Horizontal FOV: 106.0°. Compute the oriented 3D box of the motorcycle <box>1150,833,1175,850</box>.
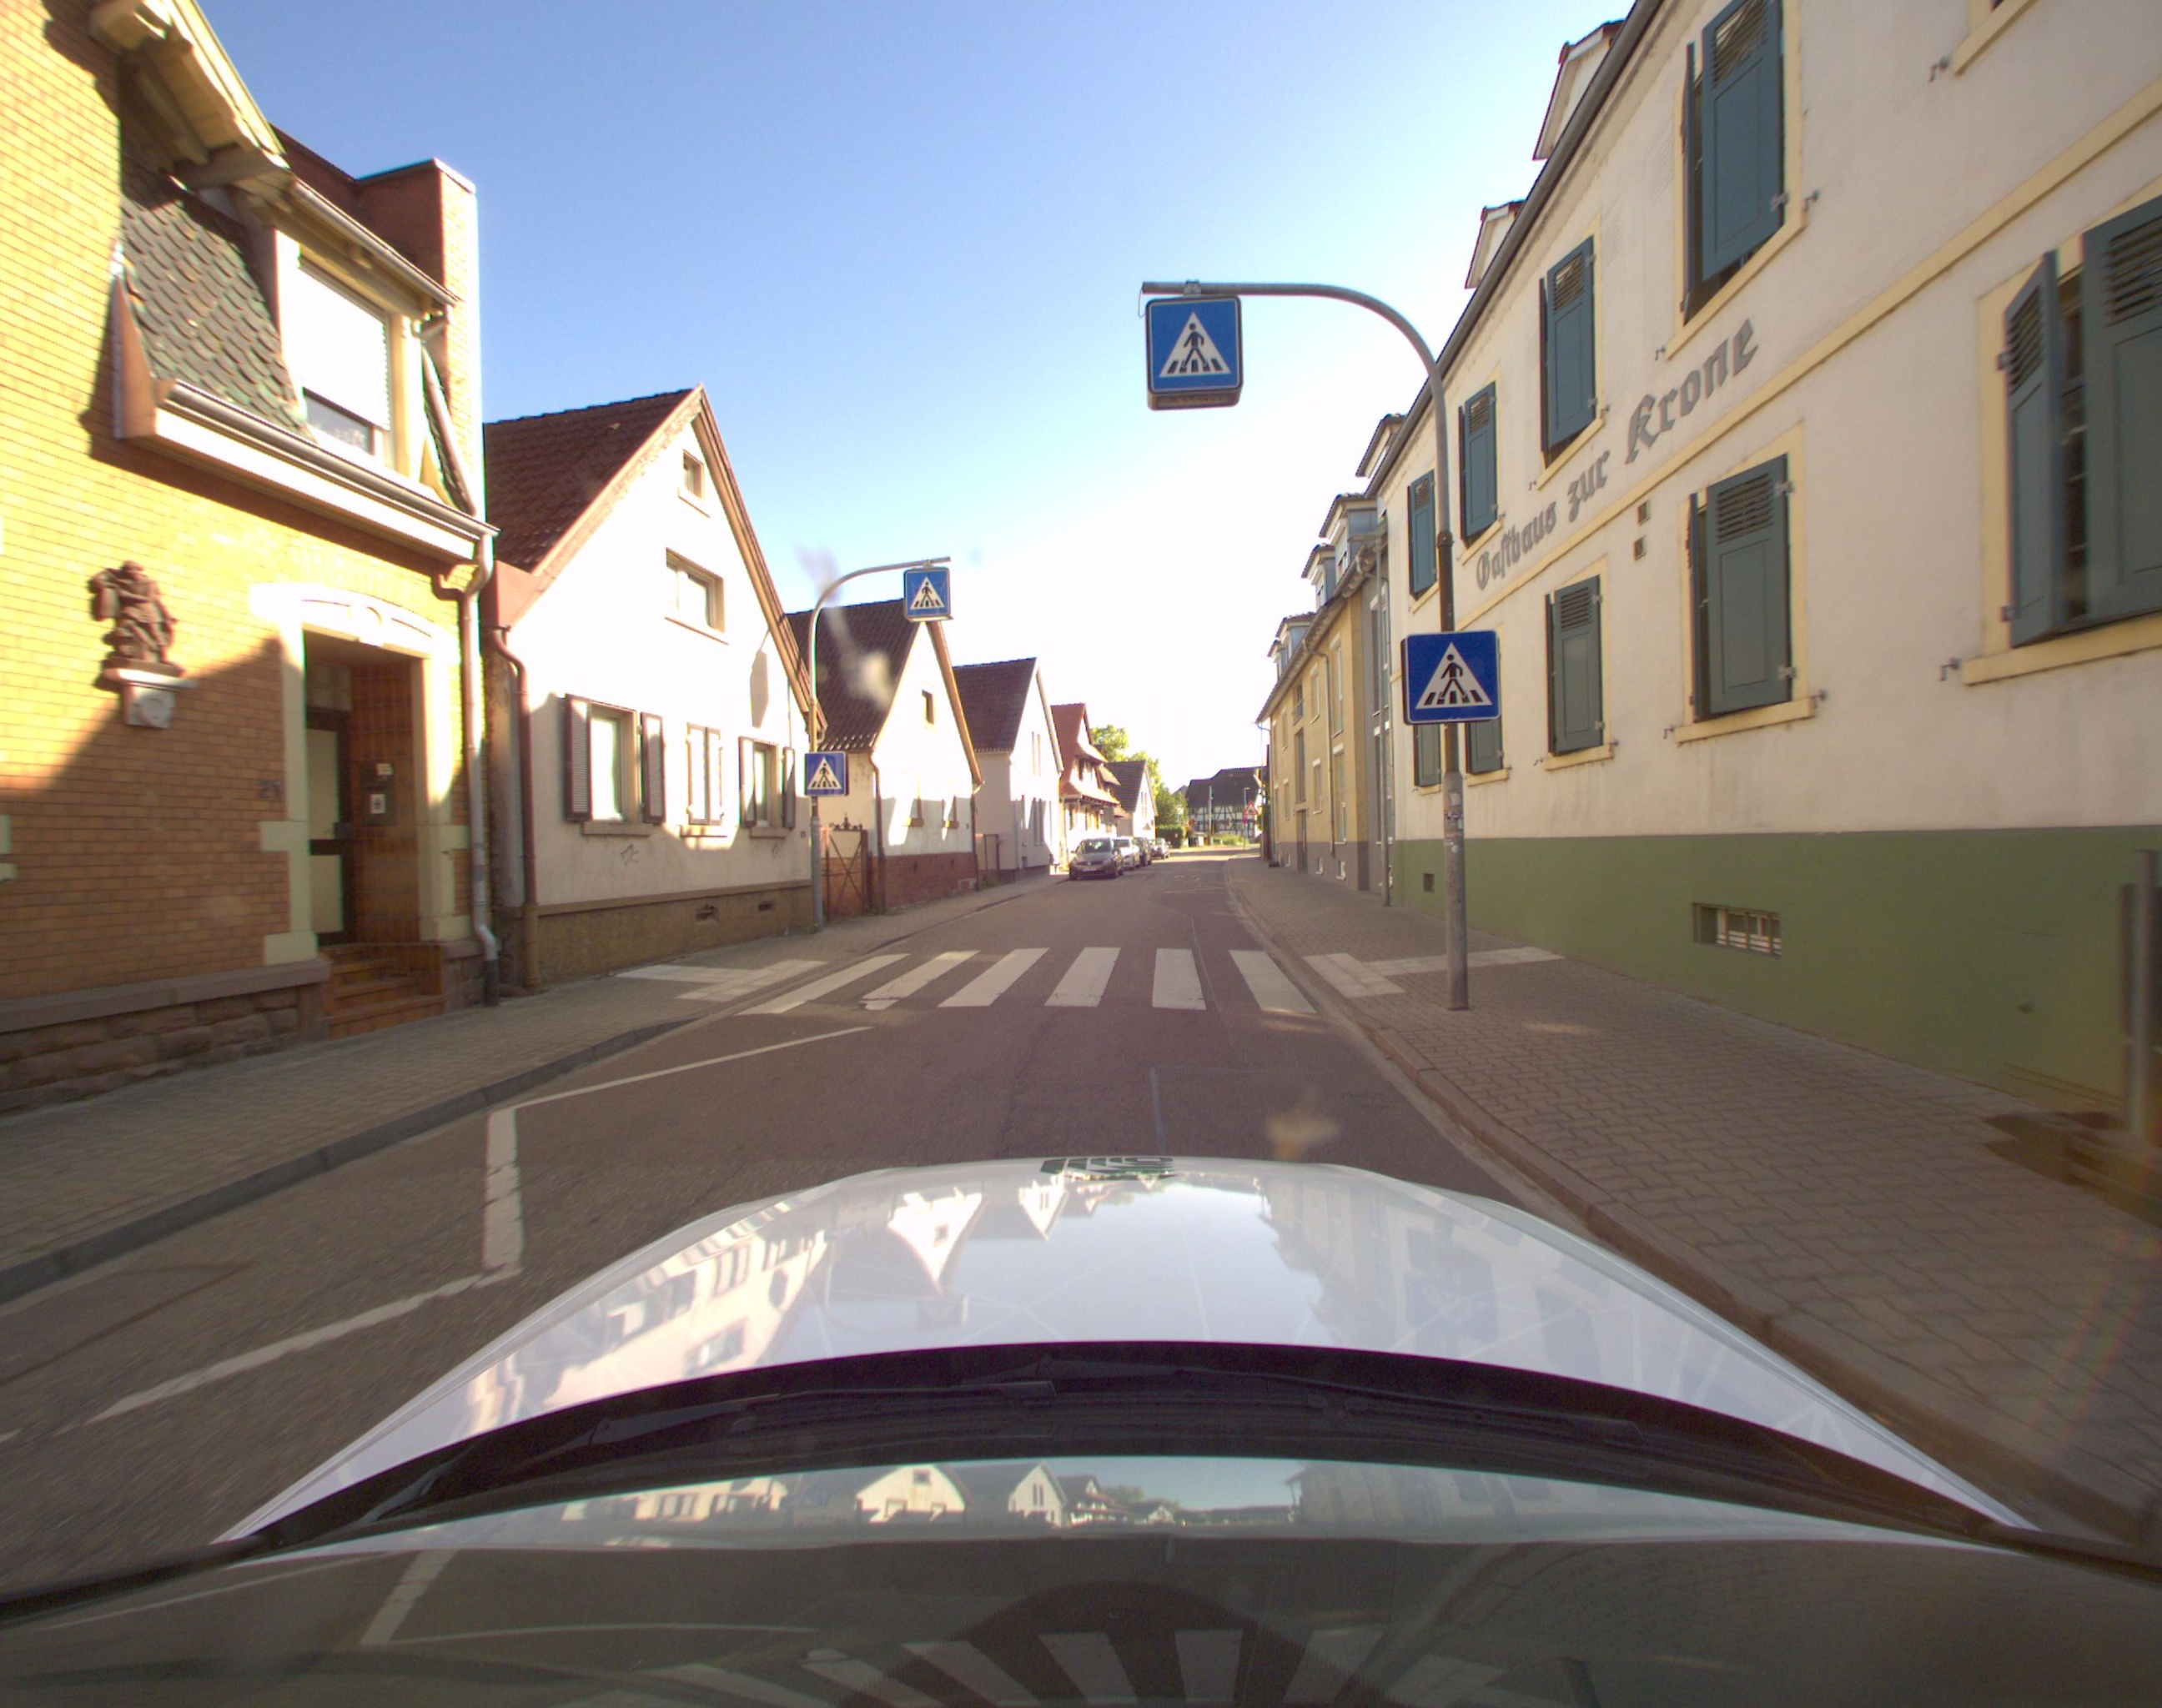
[{"bbox_3d":[5.878,-0.902,58.910,0.629,1.231,1.973,-4,2,-35],"label":"motorcycle"}]

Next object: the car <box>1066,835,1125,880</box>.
[{"bbox_3d":[0.638,0.086,31.879,1.732,1.613,4.010,-2,1,8],"label":"car"}]

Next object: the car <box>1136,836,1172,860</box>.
[{"bbox_3d":[5.038,-0.445,55.367,1.833,1.406,5.053,-3,1,11],"label":"car"}]

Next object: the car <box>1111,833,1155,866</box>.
[{"bbox_3d":[2.860,-0.285,44.027,1.772,1.604,4.375,-2,1,11],"label":"car"}]

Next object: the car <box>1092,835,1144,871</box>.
[{"bbox_3d":[1.806,-0.093,38.697,1.804,1.566,4.181,-2,1,11],"label":"car"}]
